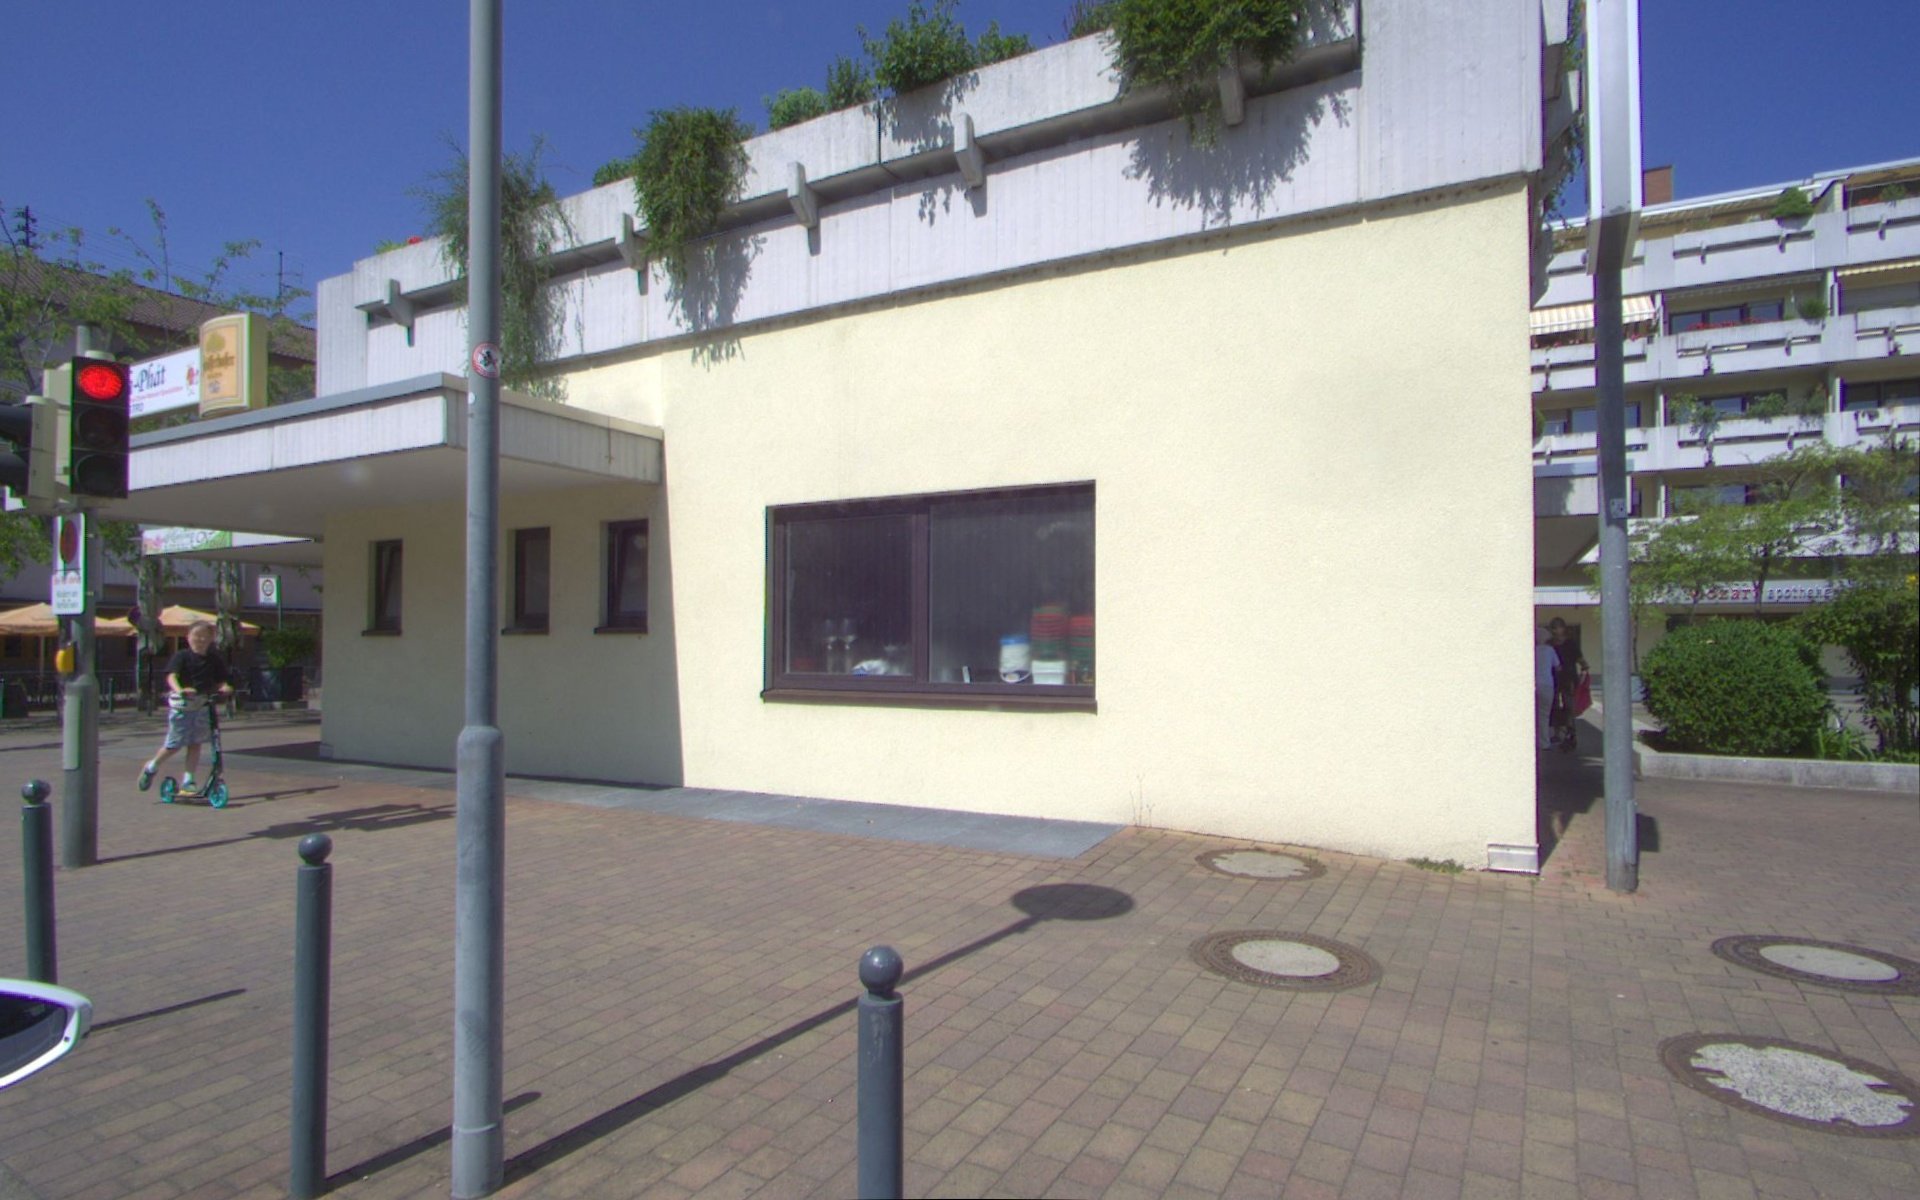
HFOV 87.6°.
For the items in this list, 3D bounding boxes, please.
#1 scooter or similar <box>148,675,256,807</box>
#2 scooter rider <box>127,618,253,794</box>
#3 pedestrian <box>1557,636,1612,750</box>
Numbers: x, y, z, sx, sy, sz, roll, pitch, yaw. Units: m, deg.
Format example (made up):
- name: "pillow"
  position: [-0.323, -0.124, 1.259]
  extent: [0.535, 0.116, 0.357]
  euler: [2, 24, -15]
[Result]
- name: "scooter or similar"
  position: [-6.170, 1.116, 8.142]
  extent: [0.947, 0.977, 0.410]
  euler: [-1, -2, 34]
- name: "scooter rider"
  position: [-6.277, 0.830, 8.157]
  extent: [1.117, 1.341, 0.460]
  euler: [-1, -1, 33]
- name: "pedestrian"
  position: [8.452, 1.230, 13.558]
  extent: [0.596, 1.482, 0.791]
  euler: [-1, -2, 32]
